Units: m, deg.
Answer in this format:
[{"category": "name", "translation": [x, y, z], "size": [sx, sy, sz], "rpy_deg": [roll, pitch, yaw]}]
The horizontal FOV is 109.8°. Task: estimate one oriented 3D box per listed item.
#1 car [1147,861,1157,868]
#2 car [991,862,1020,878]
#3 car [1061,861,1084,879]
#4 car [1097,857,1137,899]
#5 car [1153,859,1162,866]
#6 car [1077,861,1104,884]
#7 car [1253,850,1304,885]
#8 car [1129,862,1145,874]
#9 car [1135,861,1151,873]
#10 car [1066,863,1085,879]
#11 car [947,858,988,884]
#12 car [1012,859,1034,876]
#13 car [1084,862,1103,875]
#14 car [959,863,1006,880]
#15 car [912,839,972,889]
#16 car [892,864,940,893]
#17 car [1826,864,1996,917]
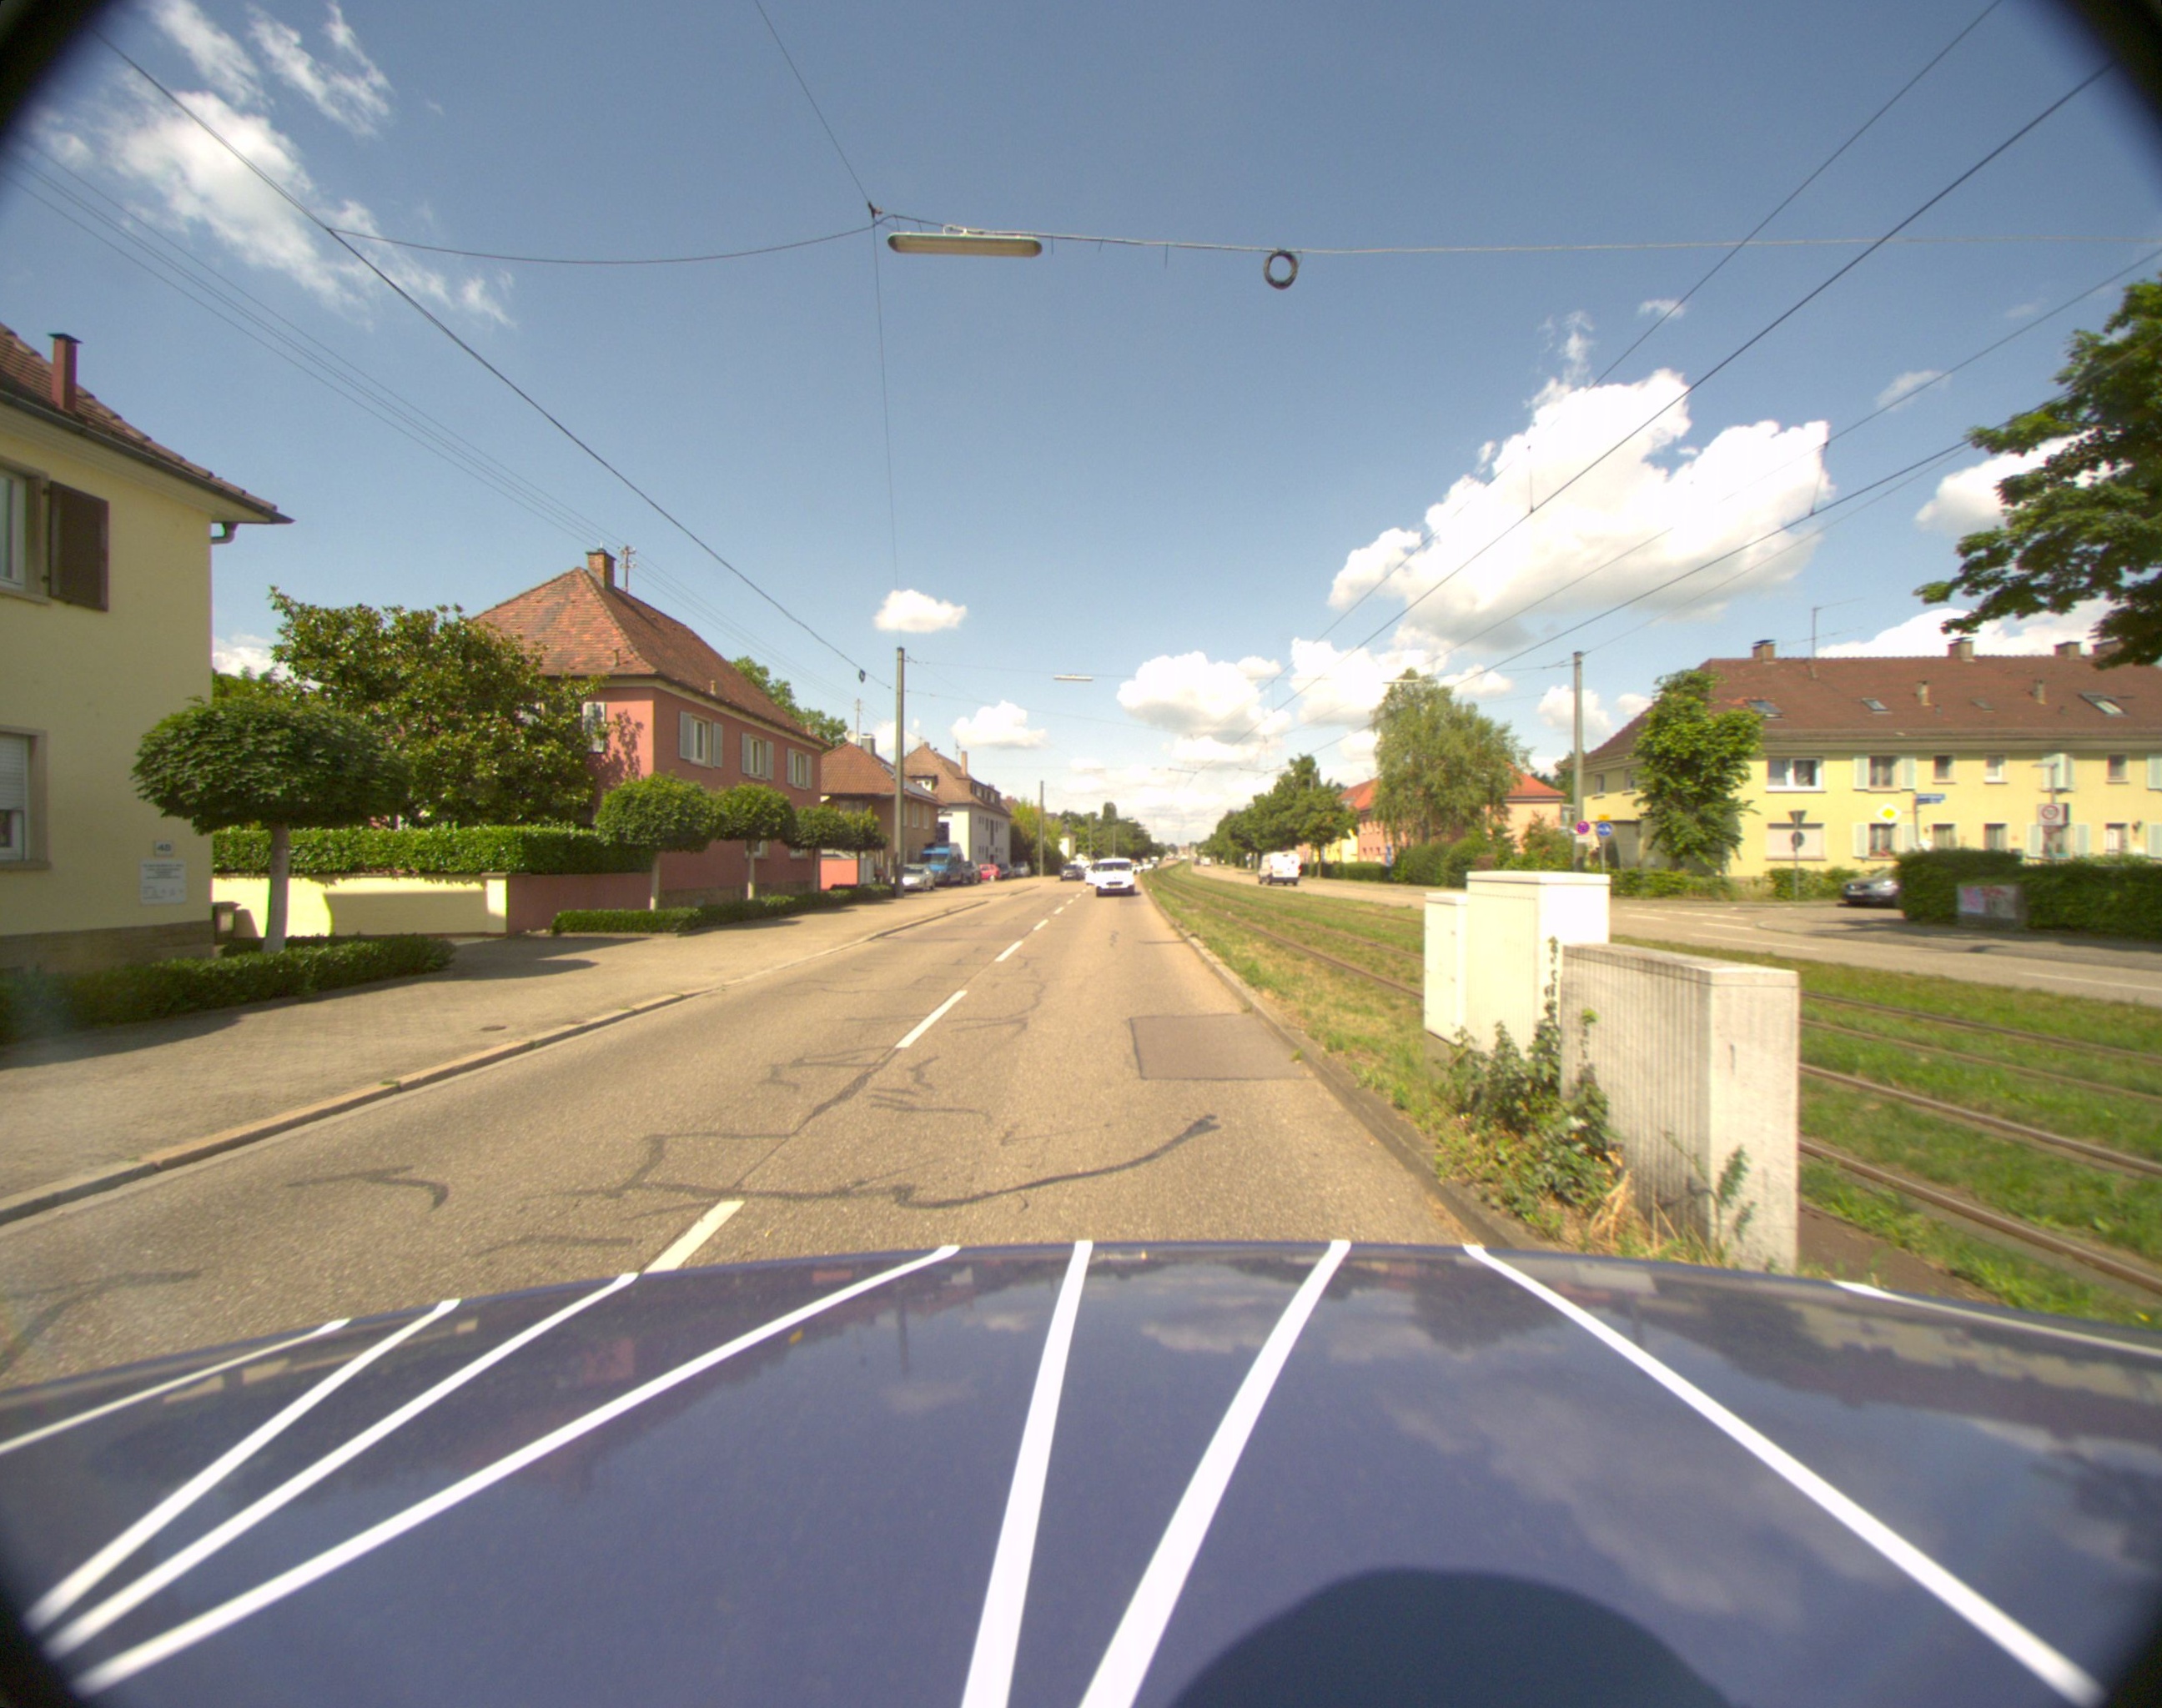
[{"category": "car", "translation": [14.940, 2.211, 158.675], "size": [1.997, 1.477, 4.002], "rpy_deg": [-1, 0, 6]}, {"category": "car", "translation": [-6.910, 1.434, 70.124], "size": [1.802, 1.415, 4.859], "rpy_deg": [1, 0, 4]}, {"category": "car", "translation": [-0.733, 1.459, 69.895], "size": [1.811, 1.550, 4.254], "rpy_deg": [-1, 0, 3]}, {"category": "car", "translation": [1.708, 1.089, 36.233], "size": [1.777, 1.850, 4.376], "rpy_deg": [-1, 0, 3]}, {"category": "car", "translation": [17.720, 1.974, 175.885], "size": [1.997, 1.477, 4.002], "rpy_deg": [-1, 0, 6]}, {"category": "car", "translation": [0.737, 1.301, 54.702], "size": [1.777, 1.540, 4.001], "rpy_deg": [-2, 0, 2]}, {"category": "car", "translation": [14.124, 0.918, 54.726], "size": [2.202, 2.358, 5.332], "rpy_deg": [1, 0, 0]}, {"category": "car", "translation": [7.257, 1.775, 98.279], "size": [1.997, 1.477, 4.002], "rpy_deg": [-1, 0, 6]}, {"category": "car", "translation": [8.907, 1.829, 109.316], "size": [1.997, 1.576, 4.002], "rpy_deg": [-1, 0, 8]}, {"category": "car", "translation": [-0.524, 1.703, 76.754], "size": [1.819, 1.445, 4.643], "rpy_deg": [-1, 0, 0]}, {"category": "car", "translation": [-8.006, 1.182, 54.118], "size": [1.840, 1.701, 4.865], "rpy_deg": [2, 0, 3]}, {"category": "car", "translation": [-6.028, 1.421, 80.054], "size": [1.761, 1.637, 4.770], "rpy_deg": [1, 0, 2]}, {"category": "car", "translation": [1.572, 1.805, 95.410], "size": [1.904, 1.435, 5.060], "rpy_deg": [-1, -1, 6]}, {"category": "car", "translation": [-8.349, 1.483, 64.428], "size": [3.657, 1.372, 1.727], "rpy_deg": [0, 1, 2]}, {"category": "car", "translation": [-8.632, 0.580, 47.893], "size": [2.156, 2.913, 6.246], "rpy_deg": [-1, 0, 4]}, {"category": "car", "translation": [-8.812, 1.255, 40.993], "size": [1.653, 1.401, 4.350], "rpy_deg": [1, 0, 0]}, {"category": "car", "translation": [28.403, 1.233, 26.099], "size": [3.750, 1.676, 1.824], "rpy_deg": [1, 0, 2]}]
